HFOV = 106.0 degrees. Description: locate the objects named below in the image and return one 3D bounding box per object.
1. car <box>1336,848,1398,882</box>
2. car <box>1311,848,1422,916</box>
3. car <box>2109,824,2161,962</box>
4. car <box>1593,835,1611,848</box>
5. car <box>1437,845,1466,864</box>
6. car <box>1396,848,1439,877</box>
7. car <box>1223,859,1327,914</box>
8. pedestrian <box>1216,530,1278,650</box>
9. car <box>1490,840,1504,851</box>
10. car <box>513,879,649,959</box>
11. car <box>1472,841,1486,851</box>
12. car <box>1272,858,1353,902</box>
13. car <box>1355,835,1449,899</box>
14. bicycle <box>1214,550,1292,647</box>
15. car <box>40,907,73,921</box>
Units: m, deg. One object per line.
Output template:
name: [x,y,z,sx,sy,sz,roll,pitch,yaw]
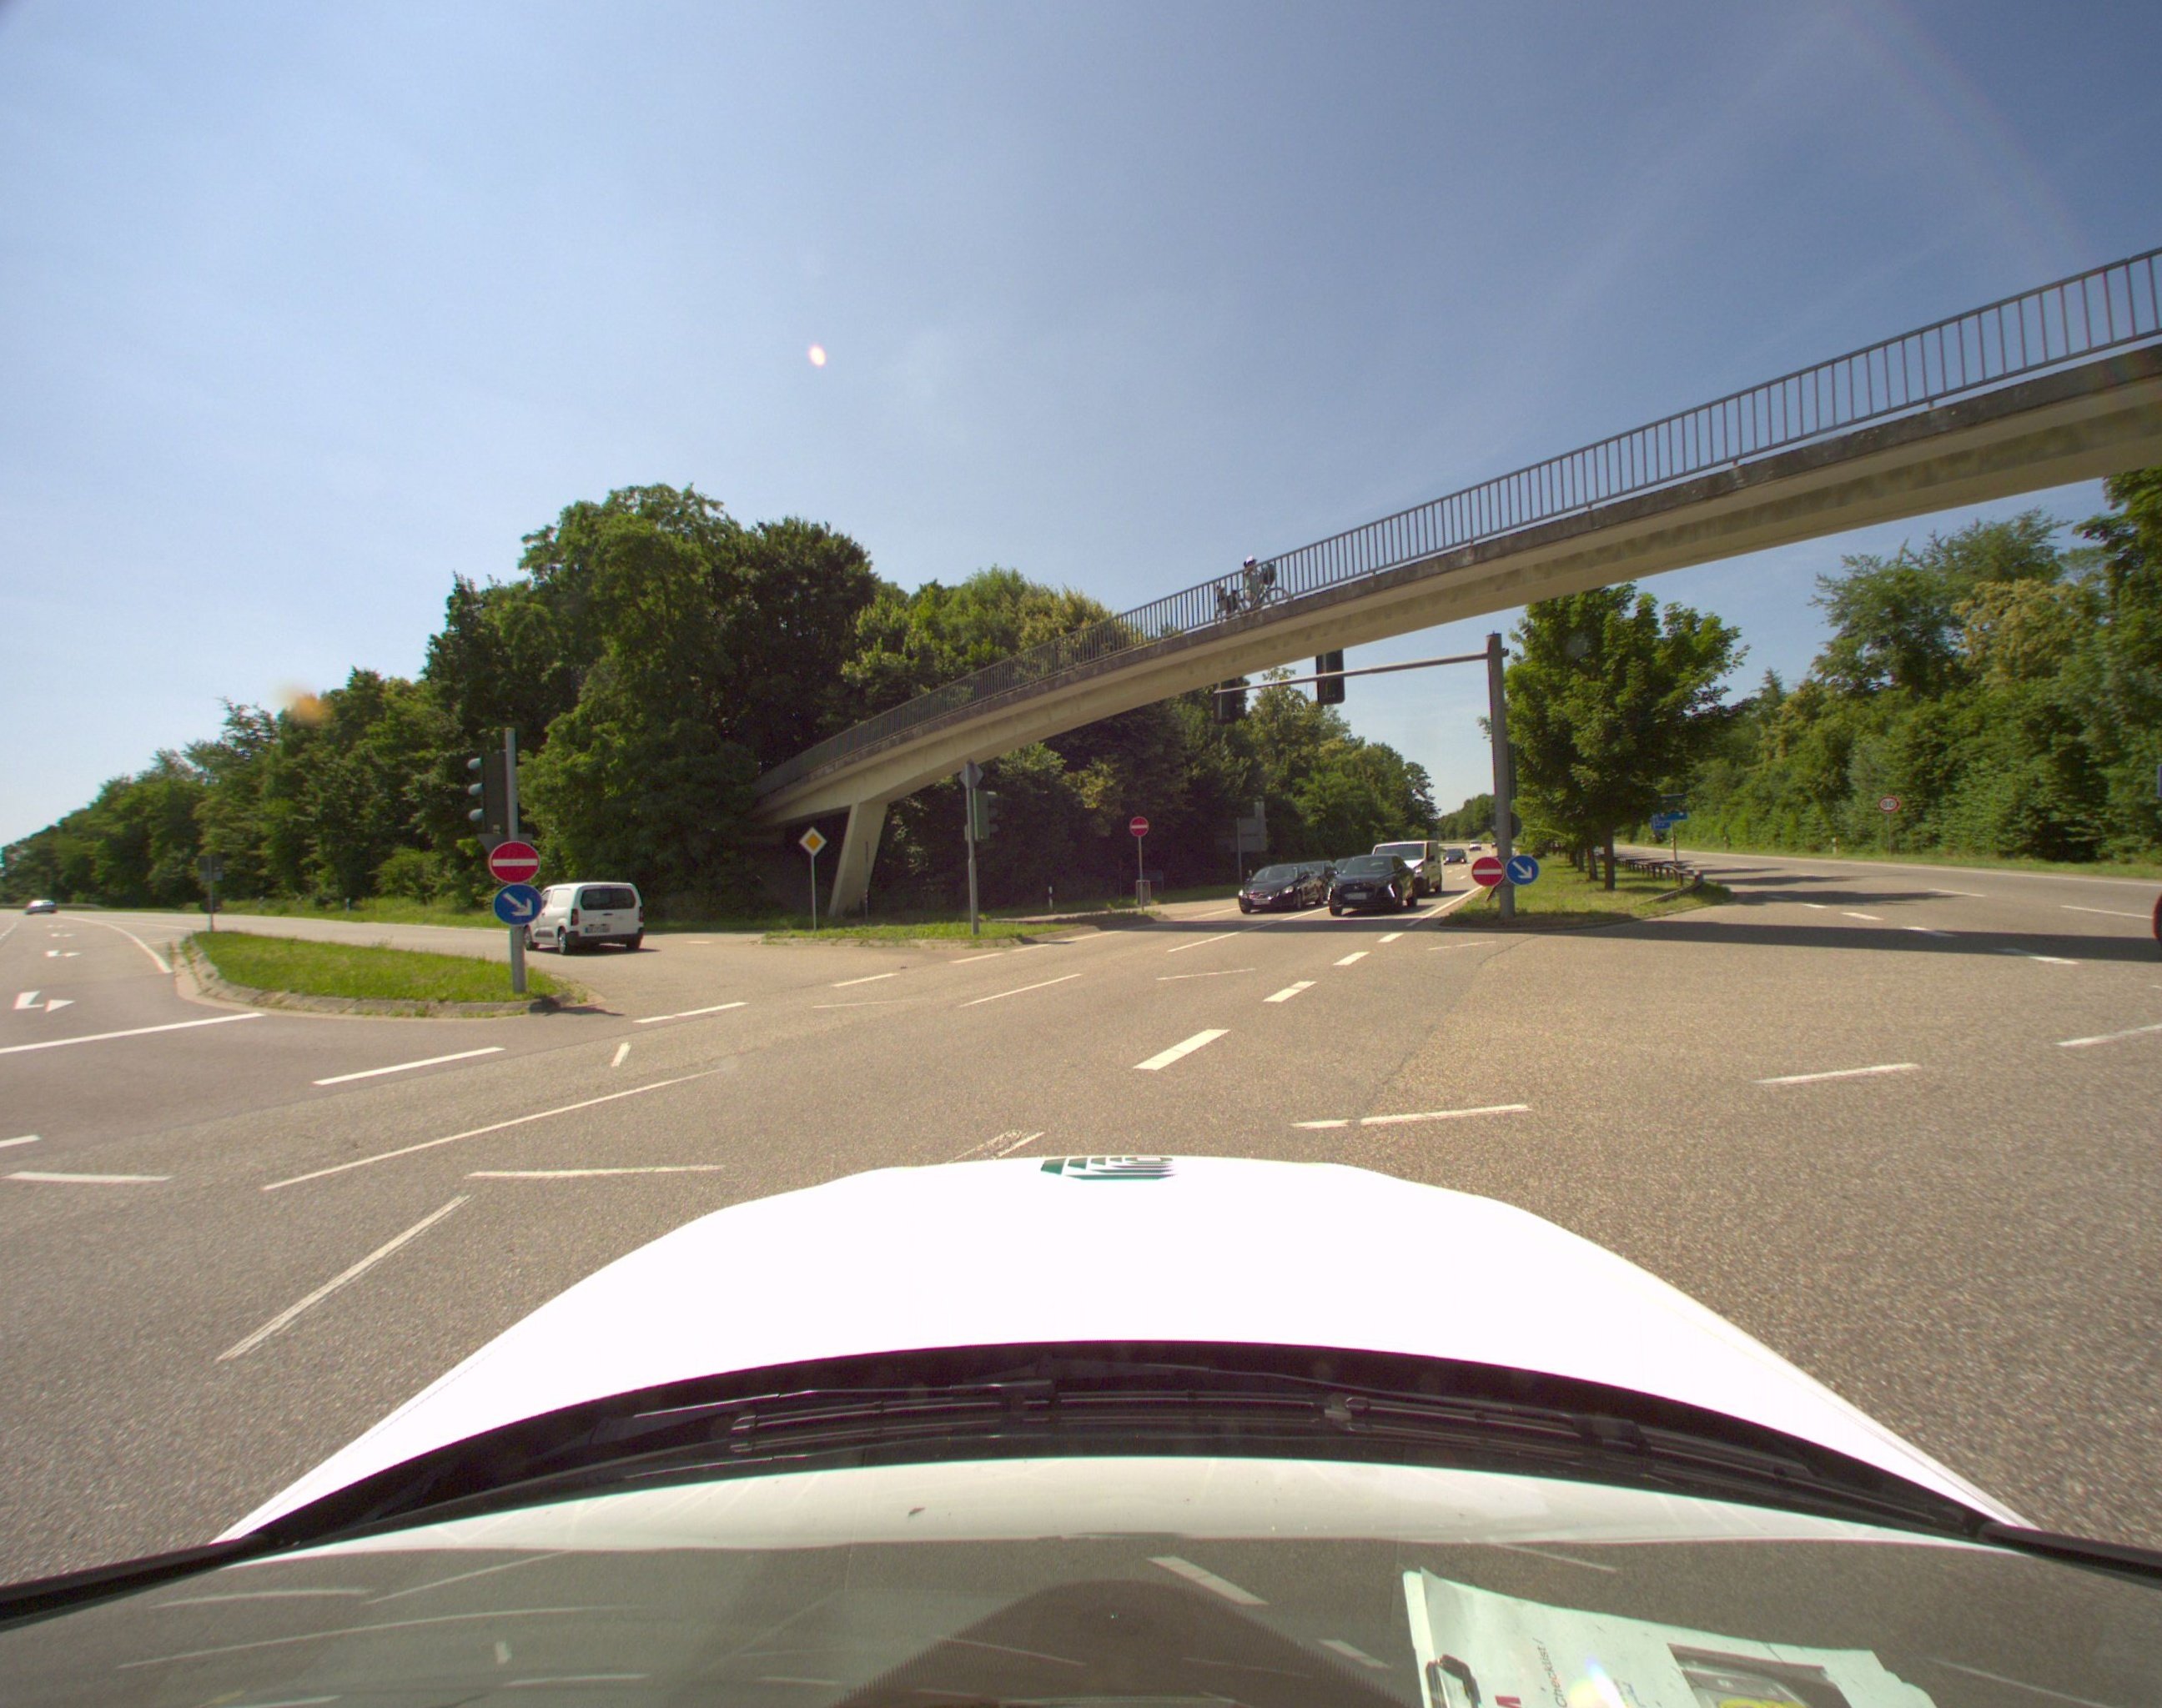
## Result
car: [13.803,0.504,39.189,1.989,1.460,4.081,-3,-1,30]
car: [7.740,0.698,21.862,1.974,1.523,4.053,-5,-2,30]
car: [11.831,0.403,7.309,1.882,1.478,3.964,-2,0,30]
car: [75.794,-1.846,118.444,2.022,1.699,5.119,-3,0,33]
car: [34.618,-0.003,76.052,1.989,1.601,4.081,-4,-2,30]
car: [20.749,0.505,50.143,1.843,1.616,4.081,-4,-2,30]
car: [6.182,0.981,25.571,1.989,1.460,4.081,-4,-2,30]
pedestrian: [3.504,-5.535,17.211,0.937,2.140,0.775,0,-4,-44]
car: [78.593,-1.545,153.780,1.976,2.014,4.021,-1,-1,21]
car: [-13.319,1.639,21.616,3.930,1.825,1.867,-2,1,40]
car: [69.664,-1.430,142.572,1.975,1.750,4.024,-1,-1,27]
car: [9.015,0.982,31.524,1.989,1.460,4.081,-4,-2,30]
car: [11.532,0.412,29.014,2.187,1.993,5.522,-4,-2,30]
bicycle: [3.526,-5.228,16.783,0.472,1.474,1.512,0,-4,-44]
car: [-110.882,6.520,88.127,4.719,1.373,2.013,-3,-1,36]
